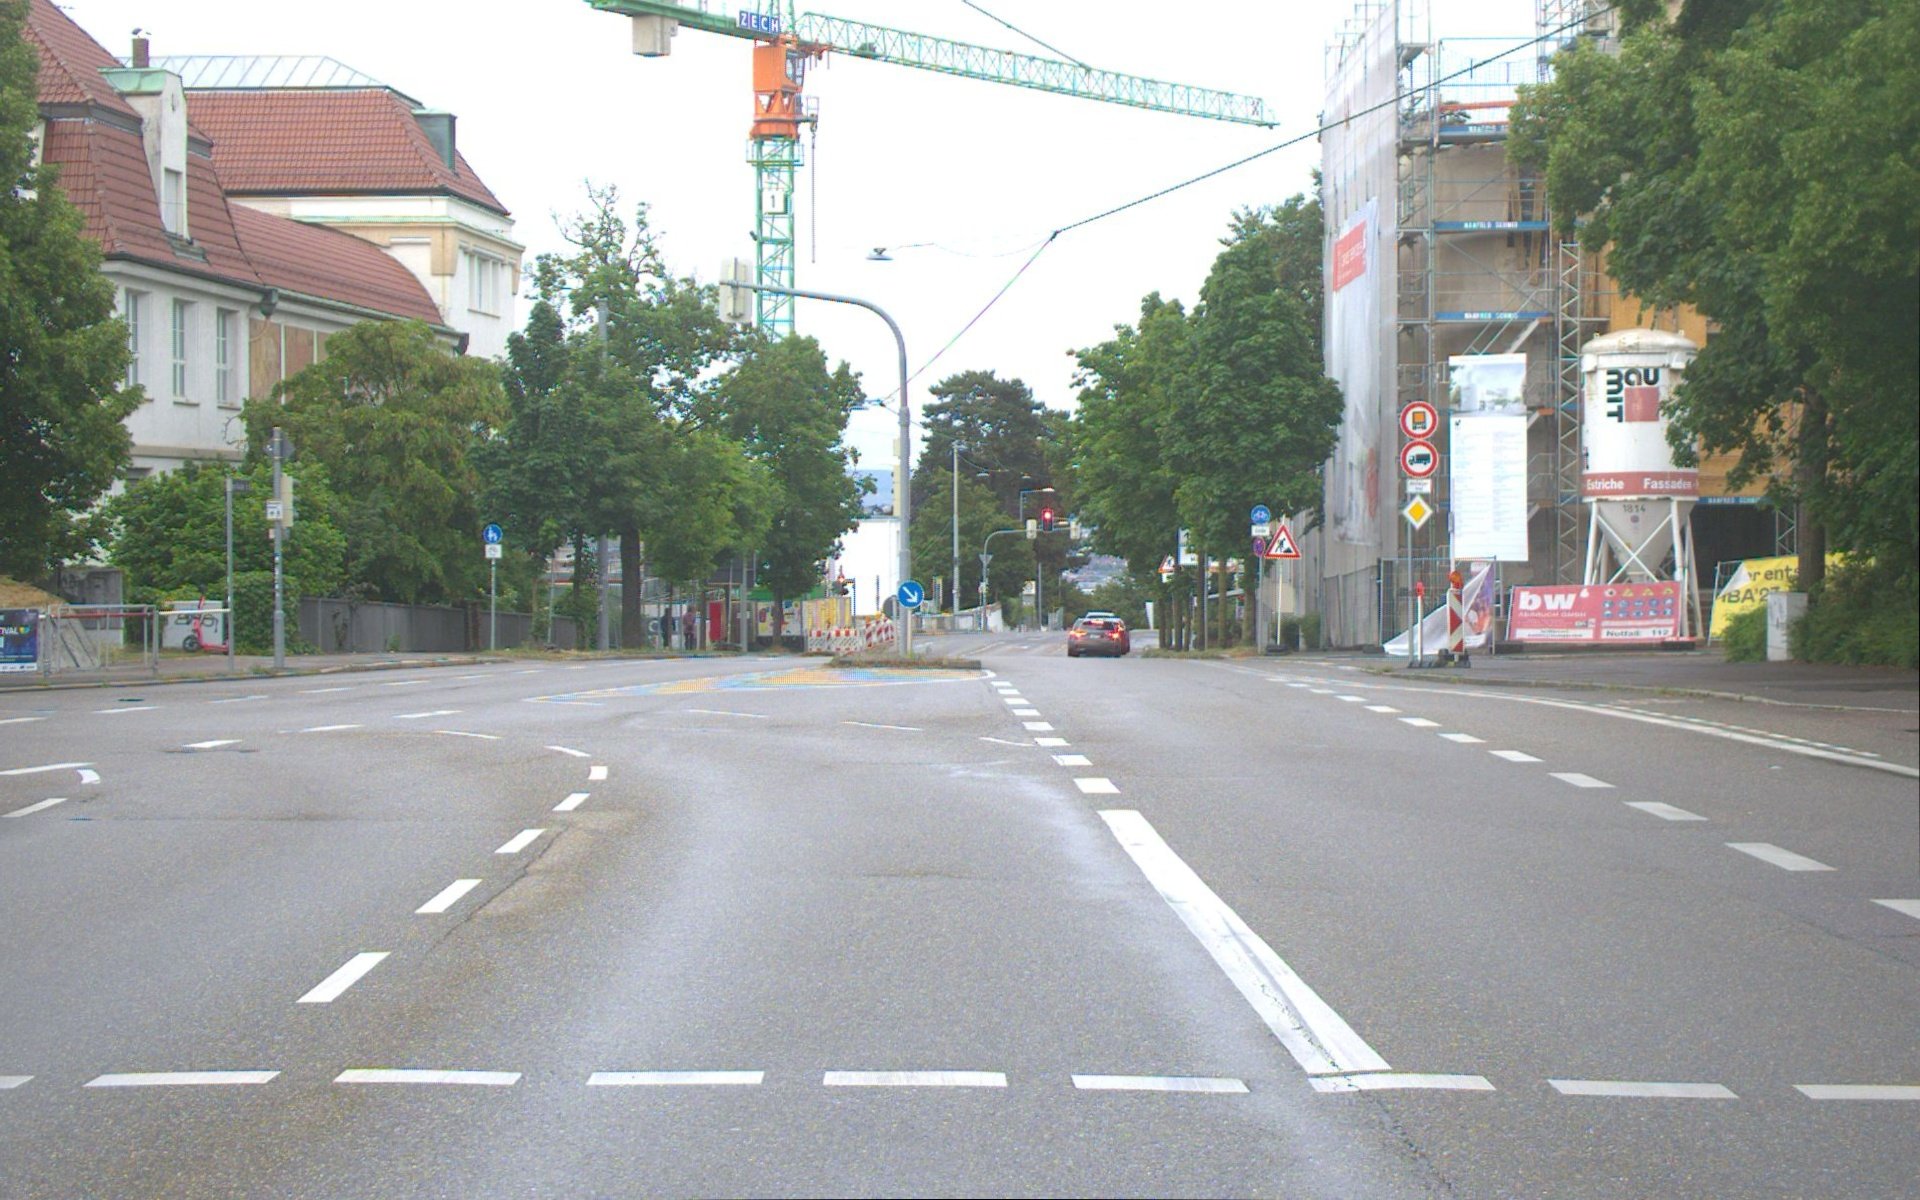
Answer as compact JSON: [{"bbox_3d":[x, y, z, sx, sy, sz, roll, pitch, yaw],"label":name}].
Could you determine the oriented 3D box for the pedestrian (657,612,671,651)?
[{"bbox_3d":[-10.729,1.128,124.604,0.474,1.391,0.411,-1,1,-1],"label":"pedestrian"}]

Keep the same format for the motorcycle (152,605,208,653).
[{"bbox_3d":[-14.695,0.543,64.808,0.849,0.874,0.877,1,0,-1],"label":"motorcycle"}]

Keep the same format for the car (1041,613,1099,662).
[{"bbox_3d":[4.215,1.436,131.865,1.993,1.744,4.000,-1,1,-1],"label":"car"}]

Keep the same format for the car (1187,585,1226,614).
[{"bbox_3d":[15.721,-0.027,219.329,1.994,1.744,3.998,-1,1,11],"label":"car"}]

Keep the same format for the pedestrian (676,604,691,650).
[{"bbox_3d":[-10.036,0.969,124.634,0.493,1.640,0.534,1,0,-6],"label":"pedestrian"}]

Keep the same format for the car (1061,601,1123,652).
[{"bbox_3d":[4.783,0.945,125.062,1.993,1.744,4.000,-1,1,-1],"label":"car"}]
